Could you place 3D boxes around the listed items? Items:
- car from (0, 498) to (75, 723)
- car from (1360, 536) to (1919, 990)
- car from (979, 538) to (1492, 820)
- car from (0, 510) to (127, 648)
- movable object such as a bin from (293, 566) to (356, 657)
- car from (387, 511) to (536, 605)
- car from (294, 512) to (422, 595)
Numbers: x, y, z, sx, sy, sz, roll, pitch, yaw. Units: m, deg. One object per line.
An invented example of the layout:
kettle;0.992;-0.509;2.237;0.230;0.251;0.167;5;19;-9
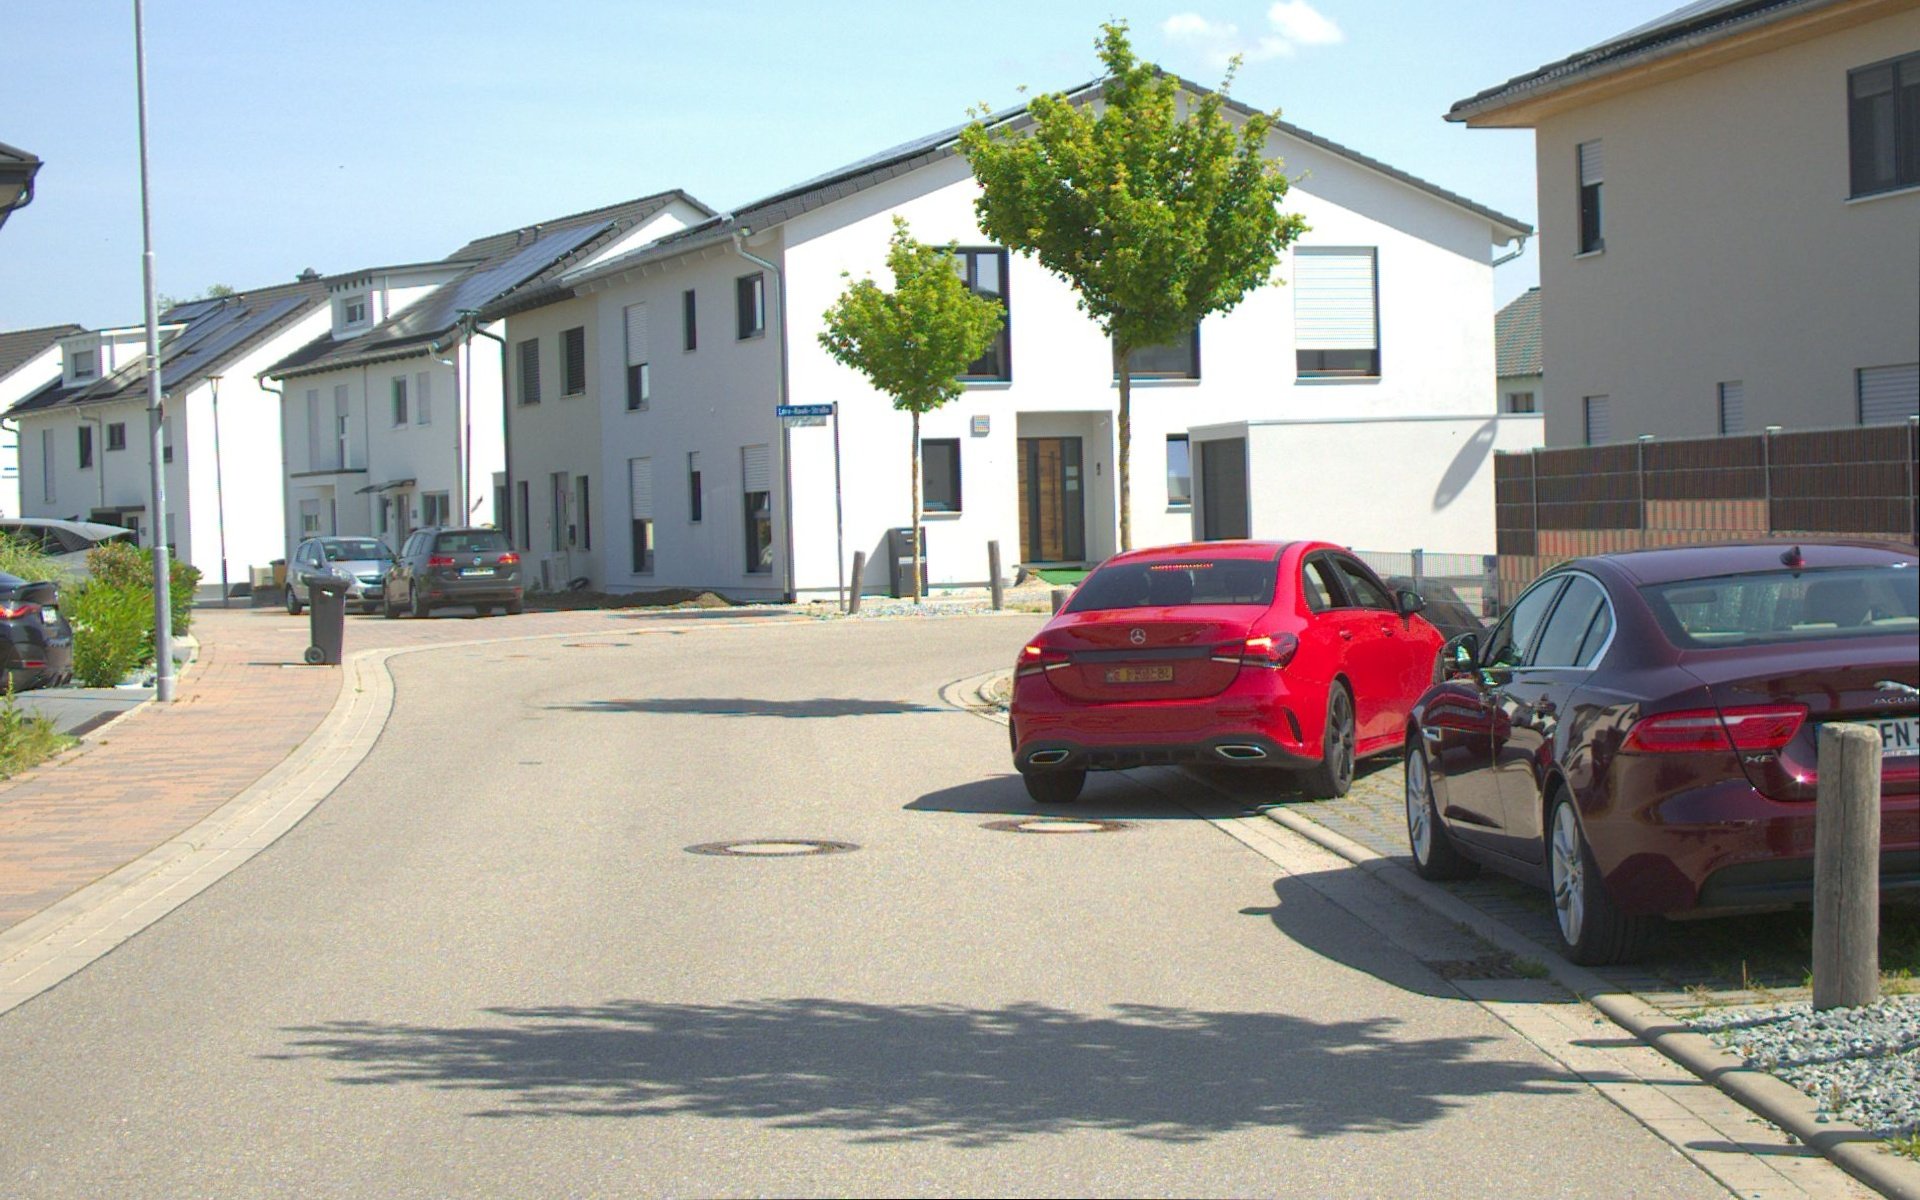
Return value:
car;-8.948;0.018;25.490;4.375;1.626;1.771;1;1;-6
car;2.801;0.472;13.182;1.754;1.358;4.576;-2;1;-3
car;1.758;0.369;20.261;1.764;1.433;4.515;0;1;22
car;-11.456;-0.230;38.264;3.986;1.481;1.754;-1;1;-4
movable object such as a bin;-6.640;0.116;35.933;0.534;0.932;0.526;1;1;3
car;-8.110;-0.689;55.694;1.726;1.418;4.001;-2;2;-17
car;-11.438;-0.881;65.129;1.676;1.459;3.946;-2;2;-20
